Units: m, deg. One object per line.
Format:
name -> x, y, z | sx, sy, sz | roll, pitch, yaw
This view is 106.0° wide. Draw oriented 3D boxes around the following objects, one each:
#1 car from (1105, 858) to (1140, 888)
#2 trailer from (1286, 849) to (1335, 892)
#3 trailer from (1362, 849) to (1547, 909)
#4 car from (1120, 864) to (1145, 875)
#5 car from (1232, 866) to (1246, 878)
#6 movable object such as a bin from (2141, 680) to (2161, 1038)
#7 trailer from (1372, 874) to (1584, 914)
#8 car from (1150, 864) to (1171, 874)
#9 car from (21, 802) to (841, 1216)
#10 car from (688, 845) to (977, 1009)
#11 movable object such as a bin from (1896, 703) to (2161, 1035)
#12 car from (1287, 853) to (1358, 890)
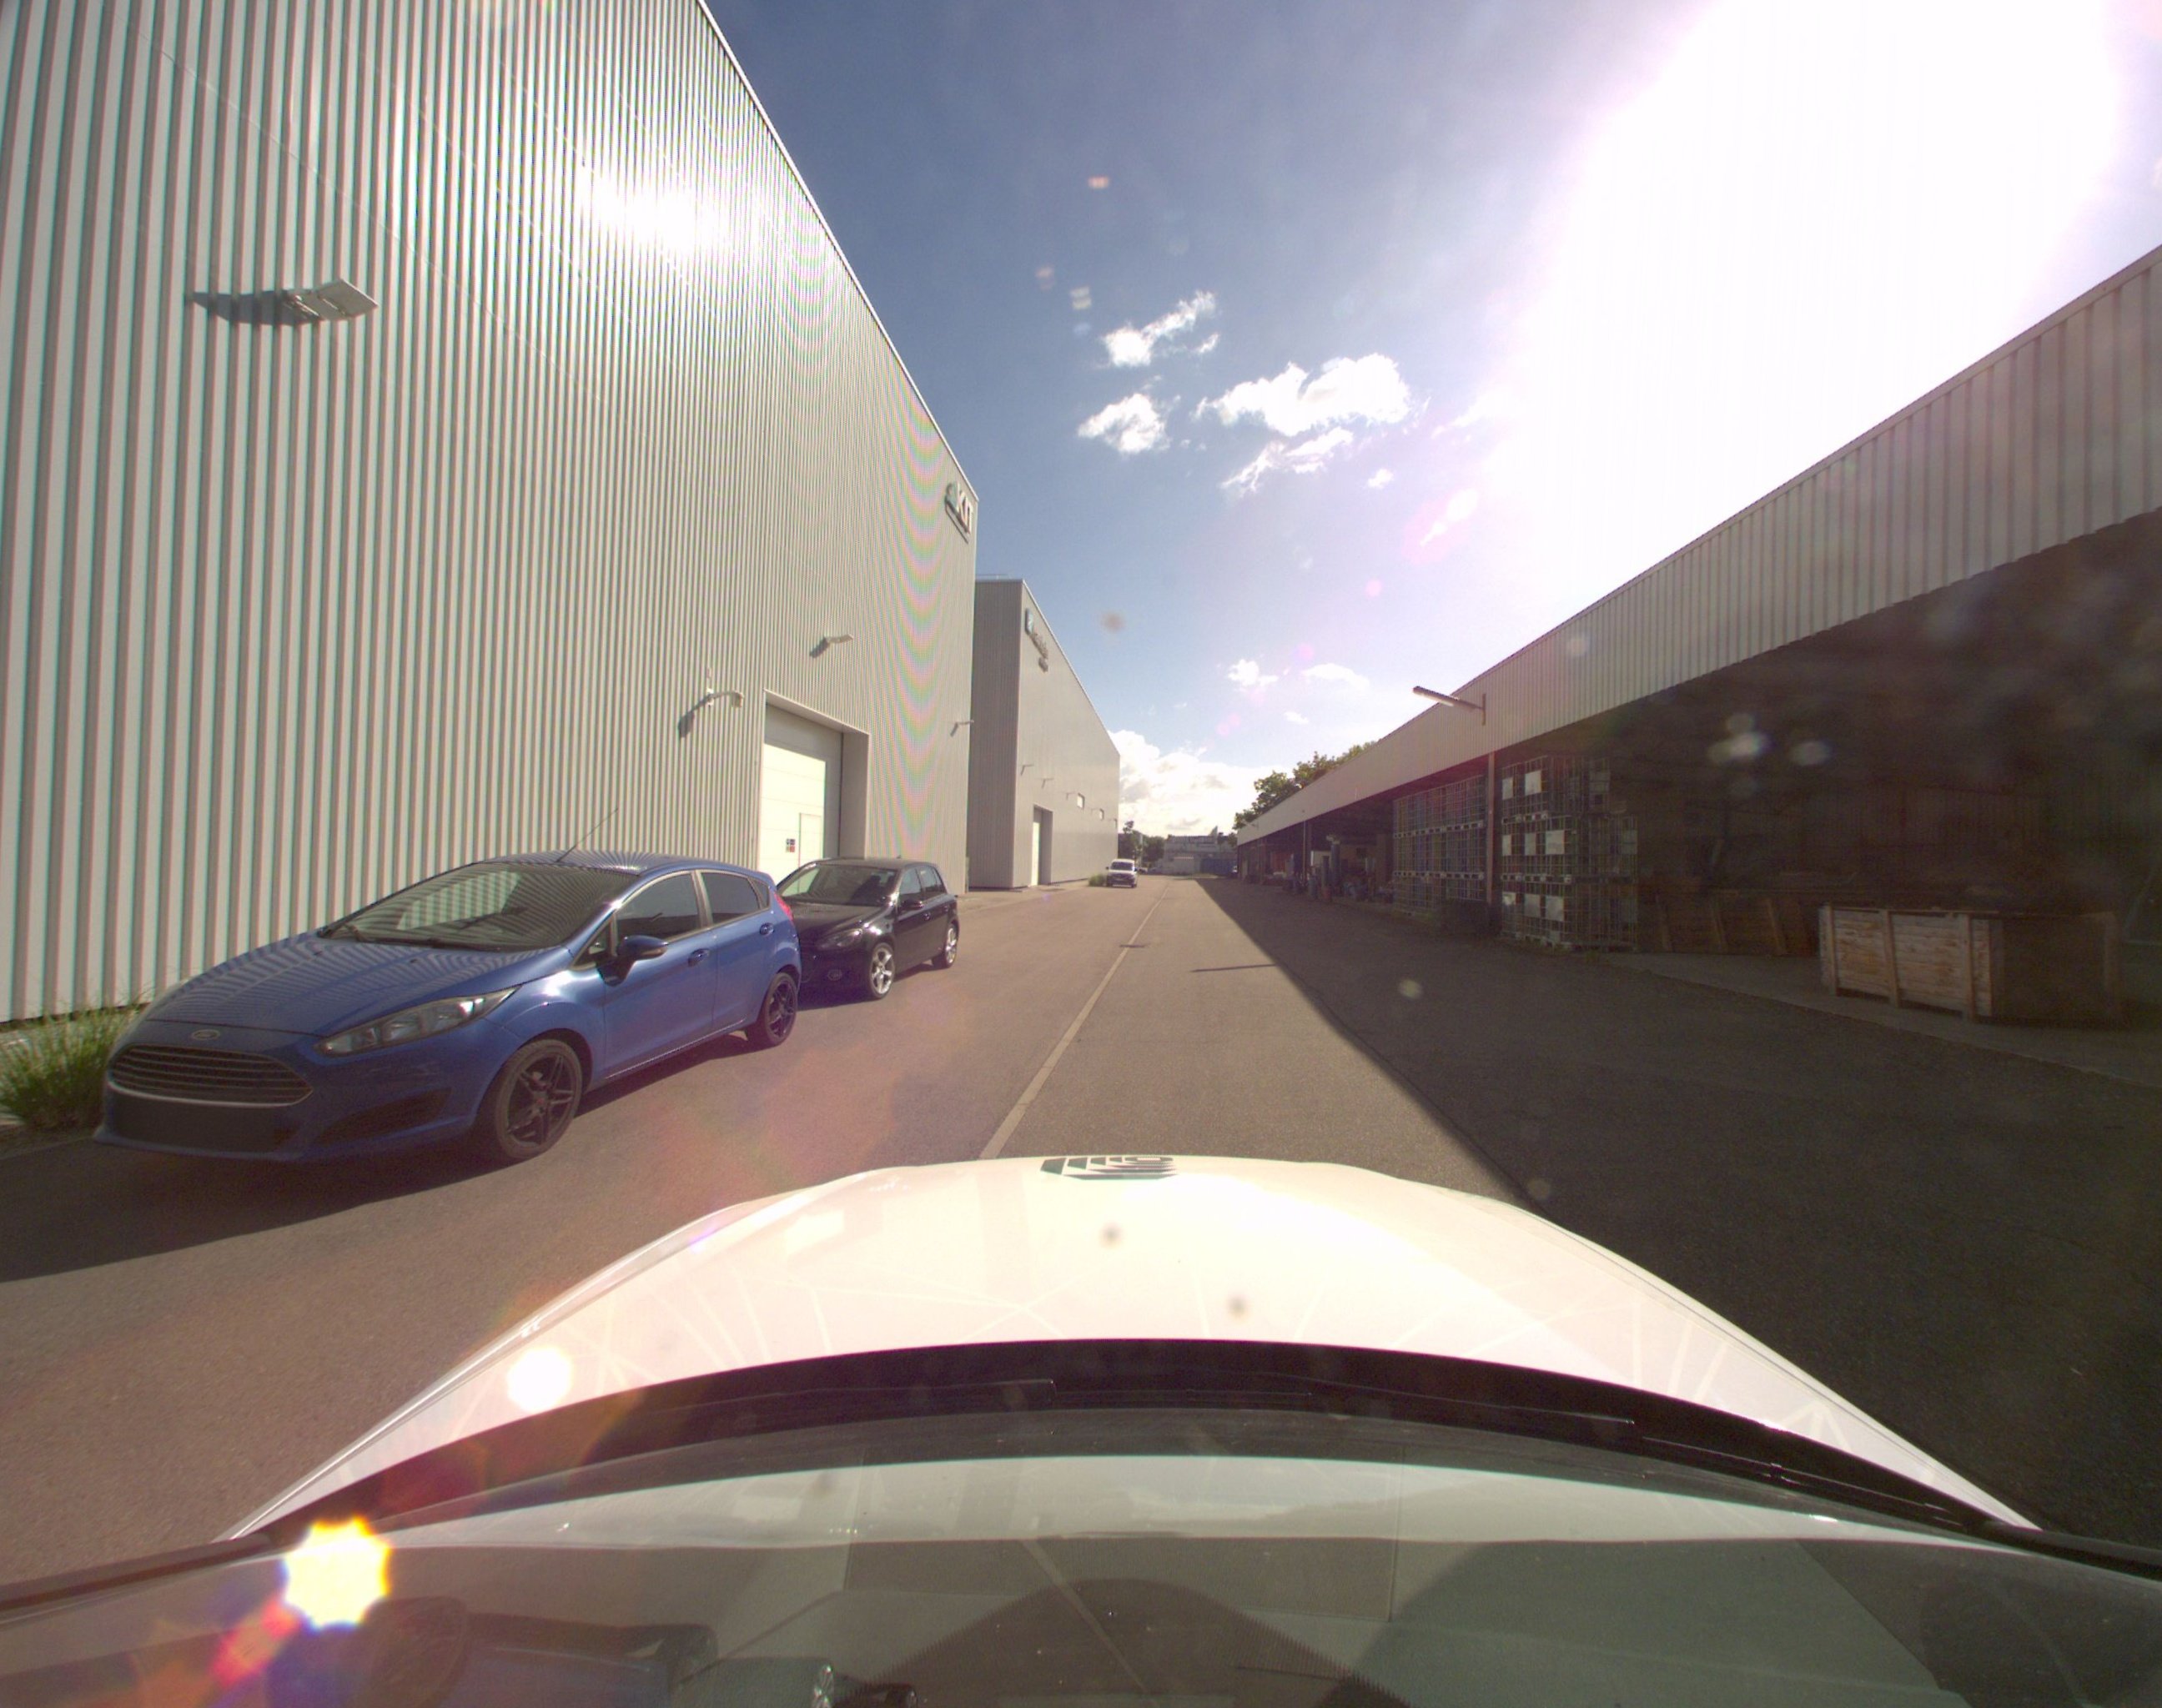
car -> 2.739, 1.213, 52.645 | 1.809, 1.787, 4.414 | 3, 0, 7
trailer -> 13.469, 0.969, 47.938 | 2.509, 2.399, 1.730 | 1, -2, 8
trailer -> 13.388, 0.868, 29.535 | 5.734, 2.032, 2.082 | 1, -1, 8
car -> 8.602, 2.582, 134.869 | 3.967, 1.598, 1.744 | 3, -3, 5
car -> 23.380, 2.678, 120.659 | 1.951, 1.564, 4.069 | 3, 0, 9
movable object such as a bin -> 13.104, 0.109, 4.600 | 9.142, 2.910, 3.218 | 1, -1, 7
trailer -> 12.684, 1.261, 26.372 | 5.820, 1.133, 2.144 | 1, -1, 5
car -> 15.818, 3.019, 162.157 | 3.967, 1.598, 1.851 | 3, -3, 5
car -> -3.203, 0.621, 5.259 | 1.622, 1.500, 4.101 | 4, 0, 6
car -> -2.730, 0.738, 10.139 | 1.745, 1.500, 4.302 | 3, -1, 7
movable object such as a bin -> 12.695, 0.208, 7.971 | 6.152, 2.910, 3.022 | 1, -1, 7
car -> 16.700, 1.253, 56.426 | 4.408, 2.310, 1.919 | 3, -3, 7
